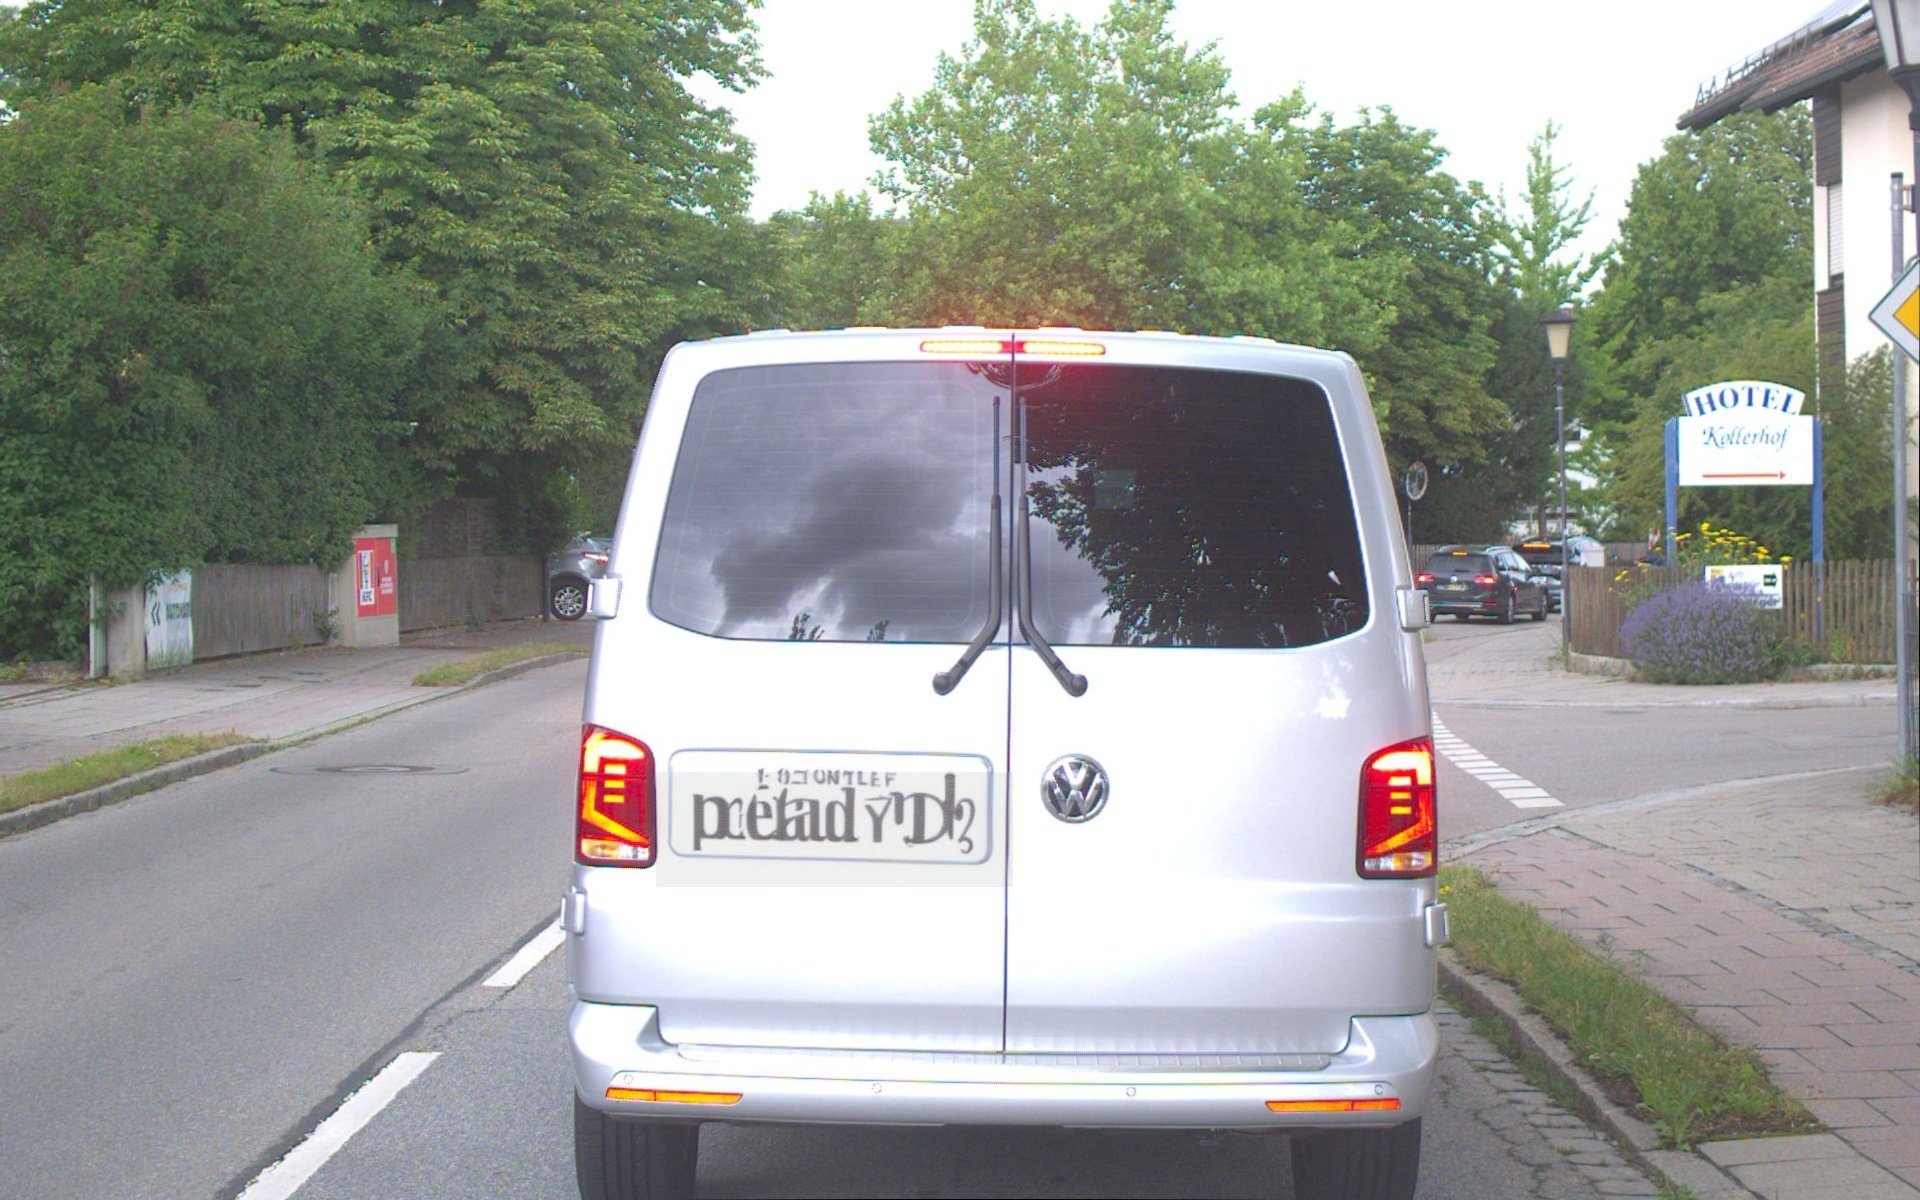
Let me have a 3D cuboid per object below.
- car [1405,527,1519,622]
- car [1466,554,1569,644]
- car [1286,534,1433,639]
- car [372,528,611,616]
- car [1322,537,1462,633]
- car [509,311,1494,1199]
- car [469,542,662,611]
[{"bbox_3d":[9.635,-0.509,65.807,1.882,1.742,4.078,-1,1,12],"label":"car"},{"bbox_3d":[11.805,-0.046,72.618,1.882,1.819,3.918,0,1,13],"label":"car"},{"bbox_3d":[6.112,-0.225,52.325,1.882,1.530,3.919,0,1,12],"label":"car"},{"bbox_3d":[-8.029,-0.498,58.937,3.986,1.481,2.001,0,1,-8],"label":"car"},{"bbox_3d":[7.223,-0.270,57.206,1.882,1.530,3.918,0,1,13],"label":"car"},{"bbox_3d":[0.090,0.384,8.575,1.881,1.934,3.921,0,1,0],"label":"car"},{"bbox_3d":[-7.933,-0.487,69.106,3.749,1.341,1.584,-1,1,-10],"label":"car"}]
